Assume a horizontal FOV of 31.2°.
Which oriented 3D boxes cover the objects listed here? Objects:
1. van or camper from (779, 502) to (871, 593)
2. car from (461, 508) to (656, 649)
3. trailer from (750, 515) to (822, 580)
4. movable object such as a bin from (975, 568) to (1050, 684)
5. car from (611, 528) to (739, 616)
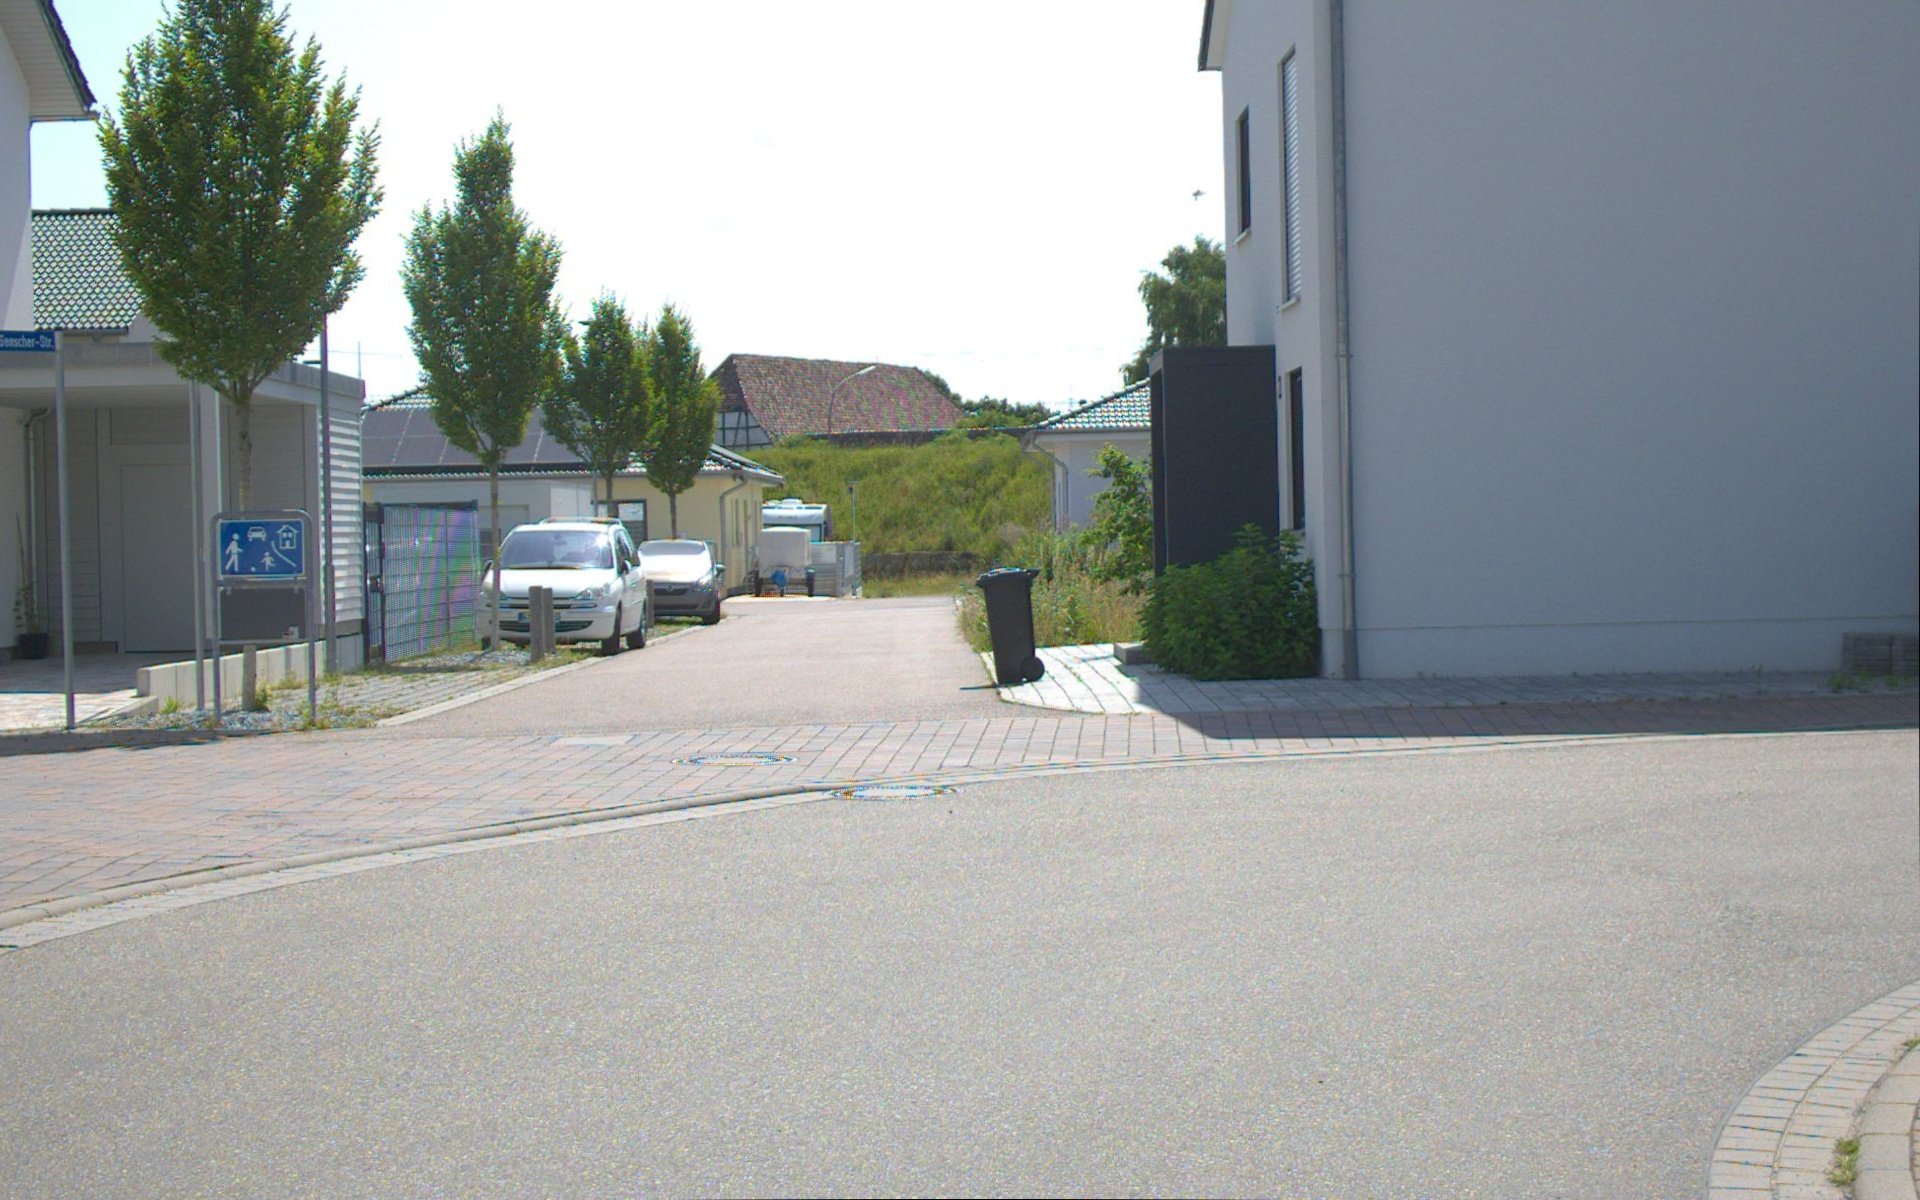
[{"bbox_3d":[-3.666,-1.432,94.190,2.263,2.402,4.845,0,1,1],"label":"van or camper"},{"bbox_3d":[-5.316,-0.298,46.057,1.993,1.783,4.647,0,1,1],"label":"car"},{"bbox_3d":[-4.388,-1.330,86.827,1.627,1.608,2.561,0,1,1],"label":"trailer"},{"bbox_3d":[0.444,0.214,29.182,0.600,0.945,0.501,-2,1,0],"label":"movable object such as a bin"},{"bbox_3d":[-5.385,-0.538,65.488,1.993,1.608,4.484,0,1,1],"label":"car"}]
